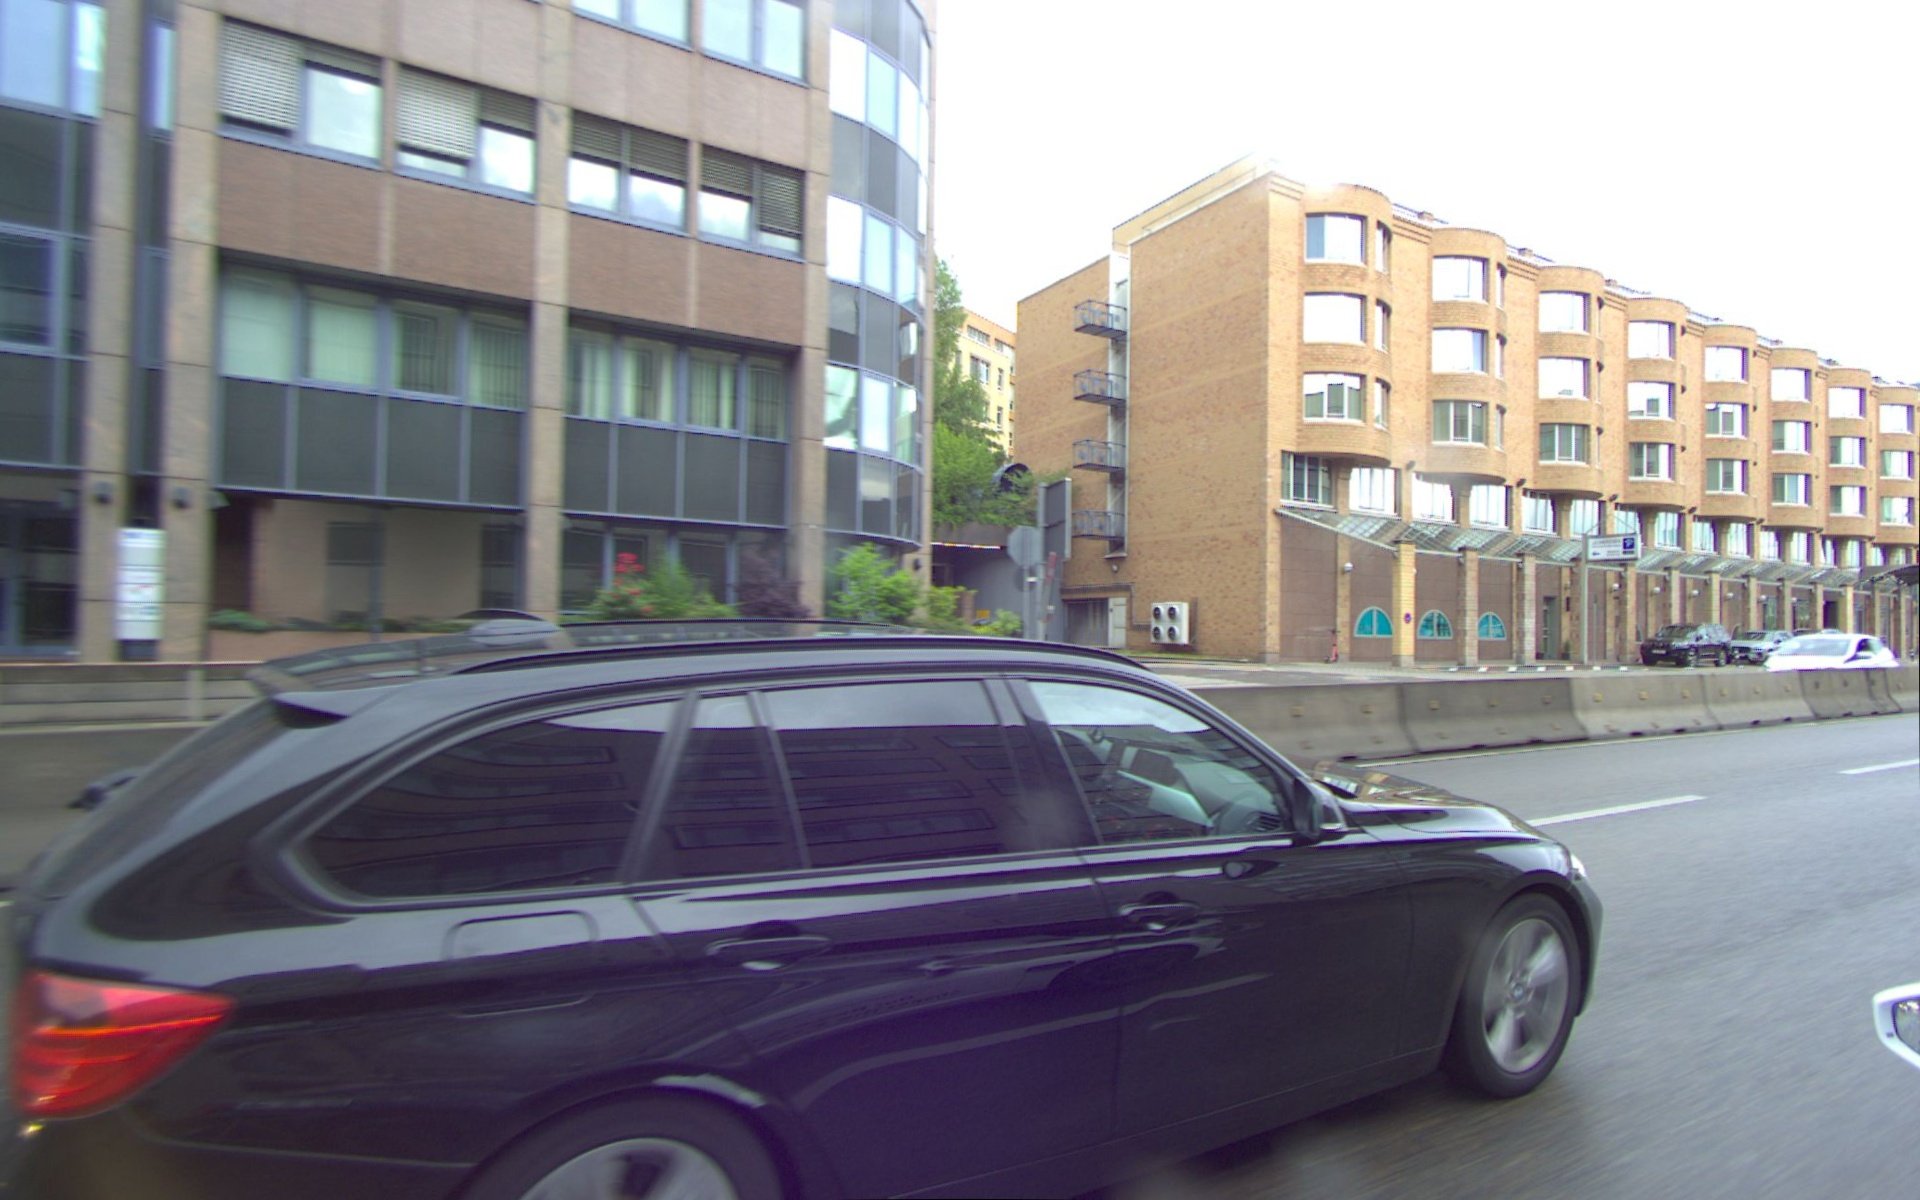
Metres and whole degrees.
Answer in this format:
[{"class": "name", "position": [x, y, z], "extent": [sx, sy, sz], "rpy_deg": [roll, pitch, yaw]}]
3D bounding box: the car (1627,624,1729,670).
[{"class": "car", "position": [32.004, 2.055, 44.755], "extent": [4.958, 1.911, 1.983], "rpy_deg": [1, -2, -32]}]

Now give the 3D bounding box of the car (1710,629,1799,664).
[{"class": "car", "position": [38.307, 2.197, 48.389], "extent": [4.490, 1.615, 1.983], "rpy_deg": [1, -2, -32]}]

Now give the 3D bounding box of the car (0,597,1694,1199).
[{"class": "car", "position": [0.157, 0.783, 3.097], "extent": [4.602, 1.462, 1.759], "rpy_deg": [1, -1, -31]}]

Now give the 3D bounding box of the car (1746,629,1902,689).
[{"class": "car", "position": [19.619, 1.300, 22.781], "extent": [3.683, 1.247, 1.605], "rpy_deg": [1, -2, -31]}]

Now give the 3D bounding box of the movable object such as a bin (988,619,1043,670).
[{"class": "movable object such as a bin", "position": [1.674, 1.348, 30.461], "extent": [1.329, 1.499, 1.242], "rpy_deg": [1, -1, -18]}]

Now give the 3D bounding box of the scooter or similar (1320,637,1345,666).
[{"class": "scooter or similar", "position": [14.169, 1.933, 38.170], "extent": [1.037, 1.077, 0.445], "rpy_deg": [2, -2, -41]}]
